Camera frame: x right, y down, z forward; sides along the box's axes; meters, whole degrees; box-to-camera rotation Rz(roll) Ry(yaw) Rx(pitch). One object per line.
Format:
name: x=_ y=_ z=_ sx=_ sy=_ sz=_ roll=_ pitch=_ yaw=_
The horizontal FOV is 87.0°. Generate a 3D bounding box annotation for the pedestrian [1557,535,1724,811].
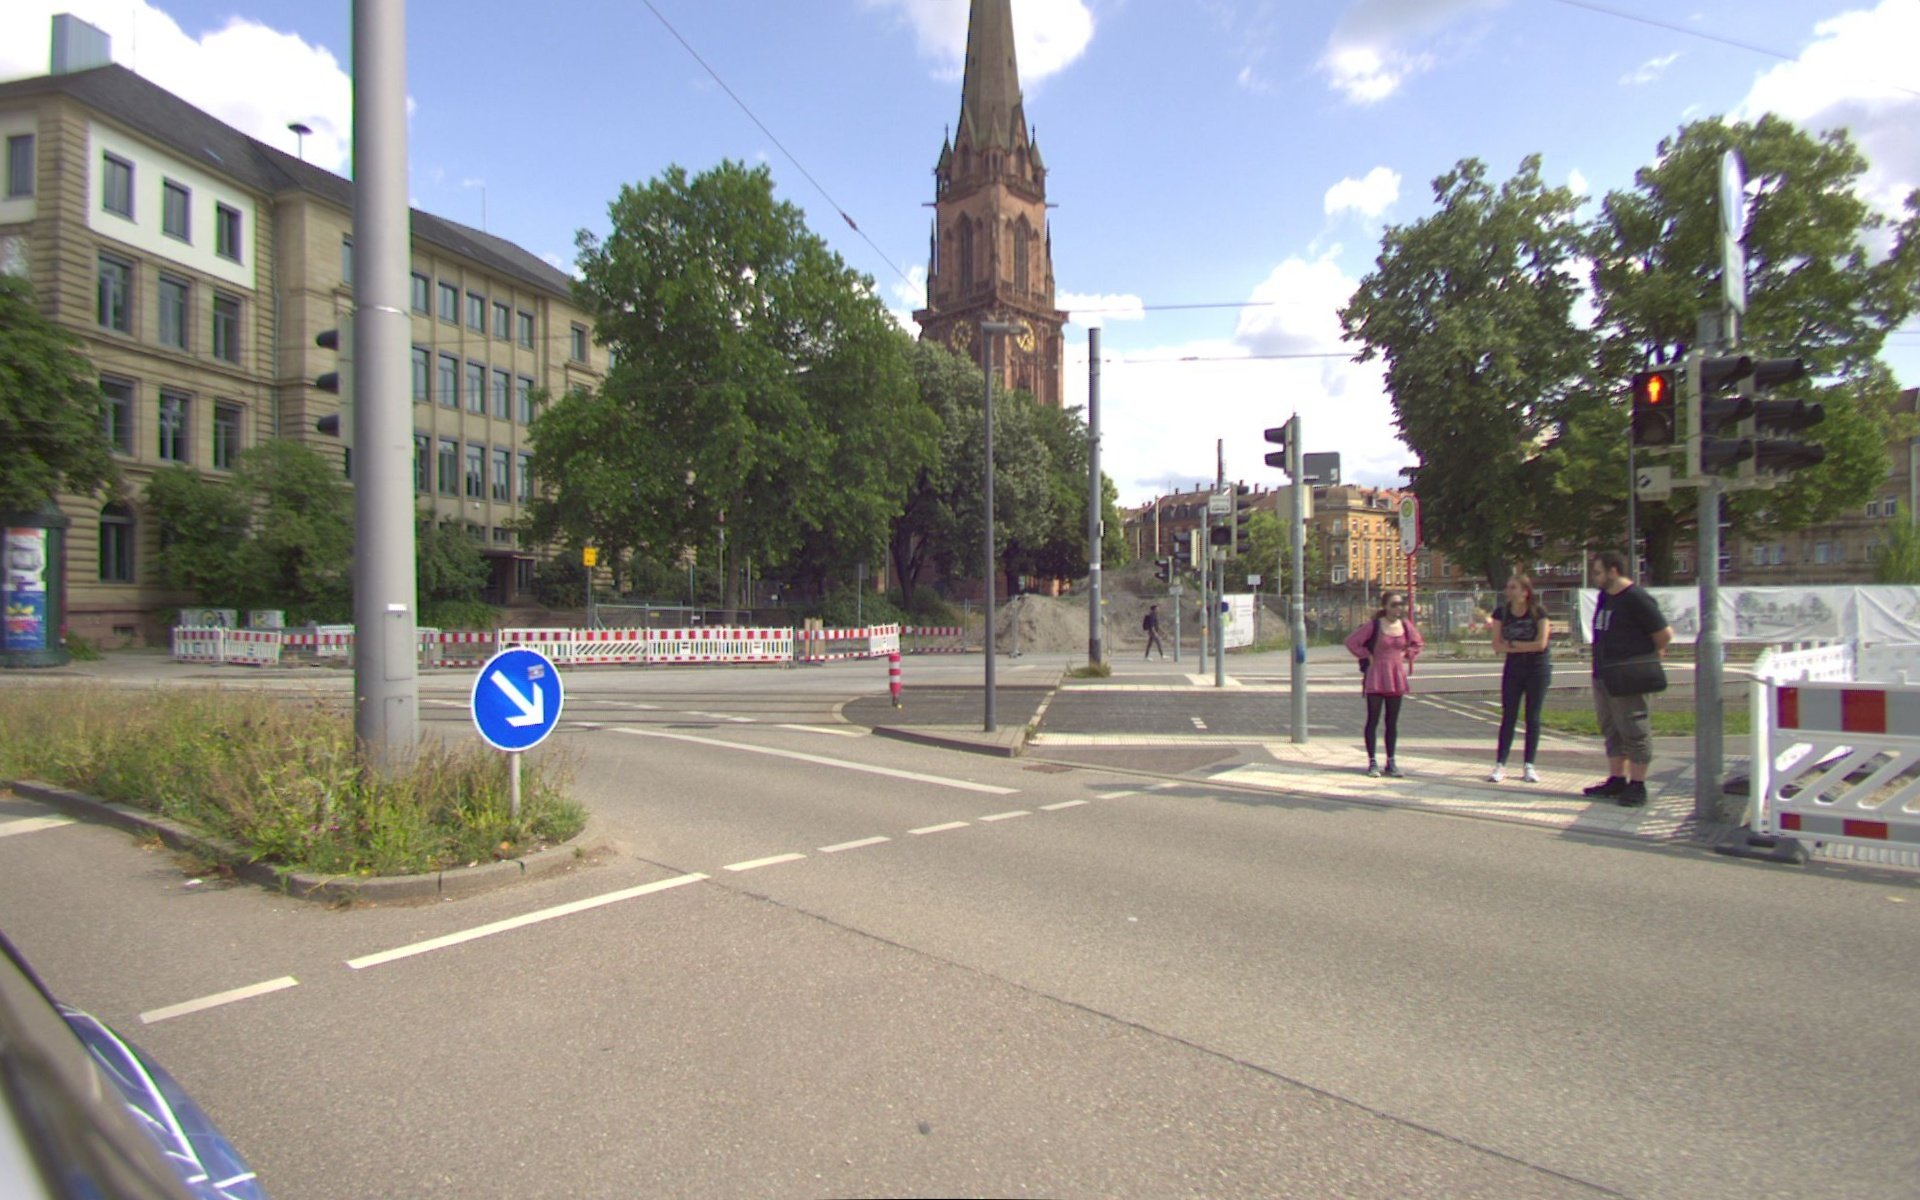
pedestrian: x=5.003 y=0.509 z=7.466 sx=0.602 sy=1.899 sz=0.796 roll=0 pitch=-1 yaw=-29

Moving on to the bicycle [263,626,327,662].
bicycle: x=-23.556 y=1.532 z=35.900 sx=0.721 sy=1.177 sz=2.116 roll=0 pitch=0 yaw=7

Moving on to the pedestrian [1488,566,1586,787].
pedestrian: x=4.776 y=0.615 z=8.383 sx=0.620 sy=1.749 sz=0.404 roll=-2 pitch=-1 yaw=39

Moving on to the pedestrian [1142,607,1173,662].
pedestrian: x=6.012 y=1.043 z=30.754 sx=0.785 sy=1.665 sz=0.575 roll=-1 pitch=-1 yaw=26

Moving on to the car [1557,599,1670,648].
car: x=33.811 y=1.212 z=52.526 sx=4.596 sy=2.436 sz=2.044 roll=-1 pitch=-1 yaw=26

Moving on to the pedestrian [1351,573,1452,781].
pedestrian: x=3.793 y=0.646 z=8.737 sx=0.615 sy=1.719 sz=0.612 roll=-1 pitch=-1 yaw=7
